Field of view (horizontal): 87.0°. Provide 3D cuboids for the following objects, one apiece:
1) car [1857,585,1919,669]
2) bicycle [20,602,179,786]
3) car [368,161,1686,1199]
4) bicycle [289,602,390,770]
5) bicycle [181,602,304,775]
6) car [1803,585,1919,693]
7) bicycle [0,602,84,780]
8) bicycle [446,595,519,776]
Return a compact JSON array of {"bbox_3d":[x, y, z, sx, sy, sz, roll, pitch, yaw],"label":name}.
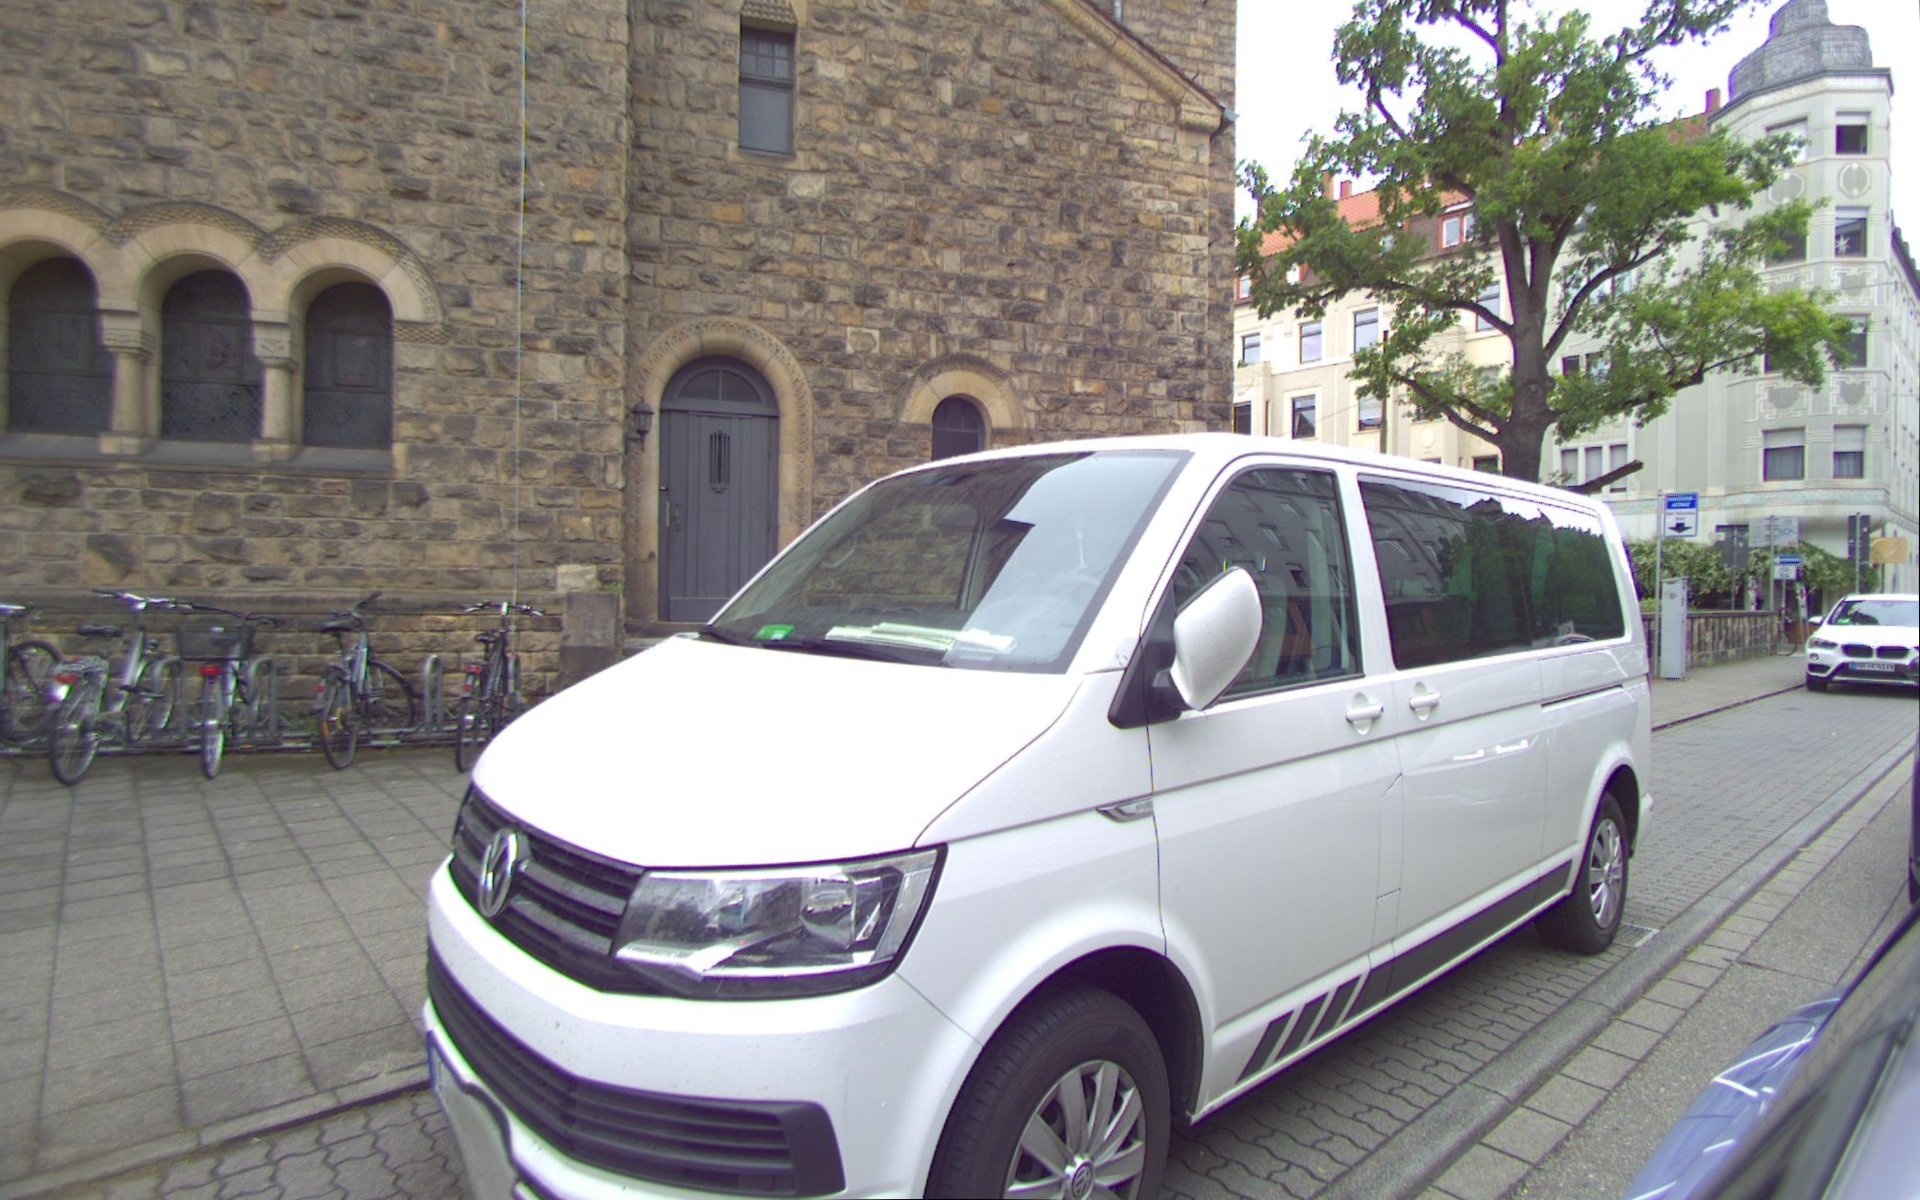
[{"bbox_3d":[19.743,0.519,20.518,3.930,1.585,1.818,0,1,-41],"label":"car"},{"bbox_3d":[-5.684,0.564,6.750,0.304,1.073,1.386,1,0,-18],"label":"bicycle"},{"bbox_3d":[0.918,0.389,3.706,5.075,1.944,1.807,0,0,-42],"label":"car"},{"bbox_3d":[-4.413,0.561,7.253,0.304,1.073,1.346,1,0,-18],"label":"bicycle"},{"bbox_3d":[-5.004,0.561,7.116,0.304,1.073,1.386,1,0,-18],"label":"bicycle"},{"bbox_3d":[15.358,0.577,16.539,3.930,1.585,1.818,0,1,-41],"label":"car"},{"bbox_3d":[-6.092,0.559,6.409,0.304,1.073,1.386,1,0,-18],"label":"bicycle"},{"bbox_3d":[-3.399,0.553,7.261,0.304,1.161,1.346,1,0,-18],"label":"bicycle"}]
